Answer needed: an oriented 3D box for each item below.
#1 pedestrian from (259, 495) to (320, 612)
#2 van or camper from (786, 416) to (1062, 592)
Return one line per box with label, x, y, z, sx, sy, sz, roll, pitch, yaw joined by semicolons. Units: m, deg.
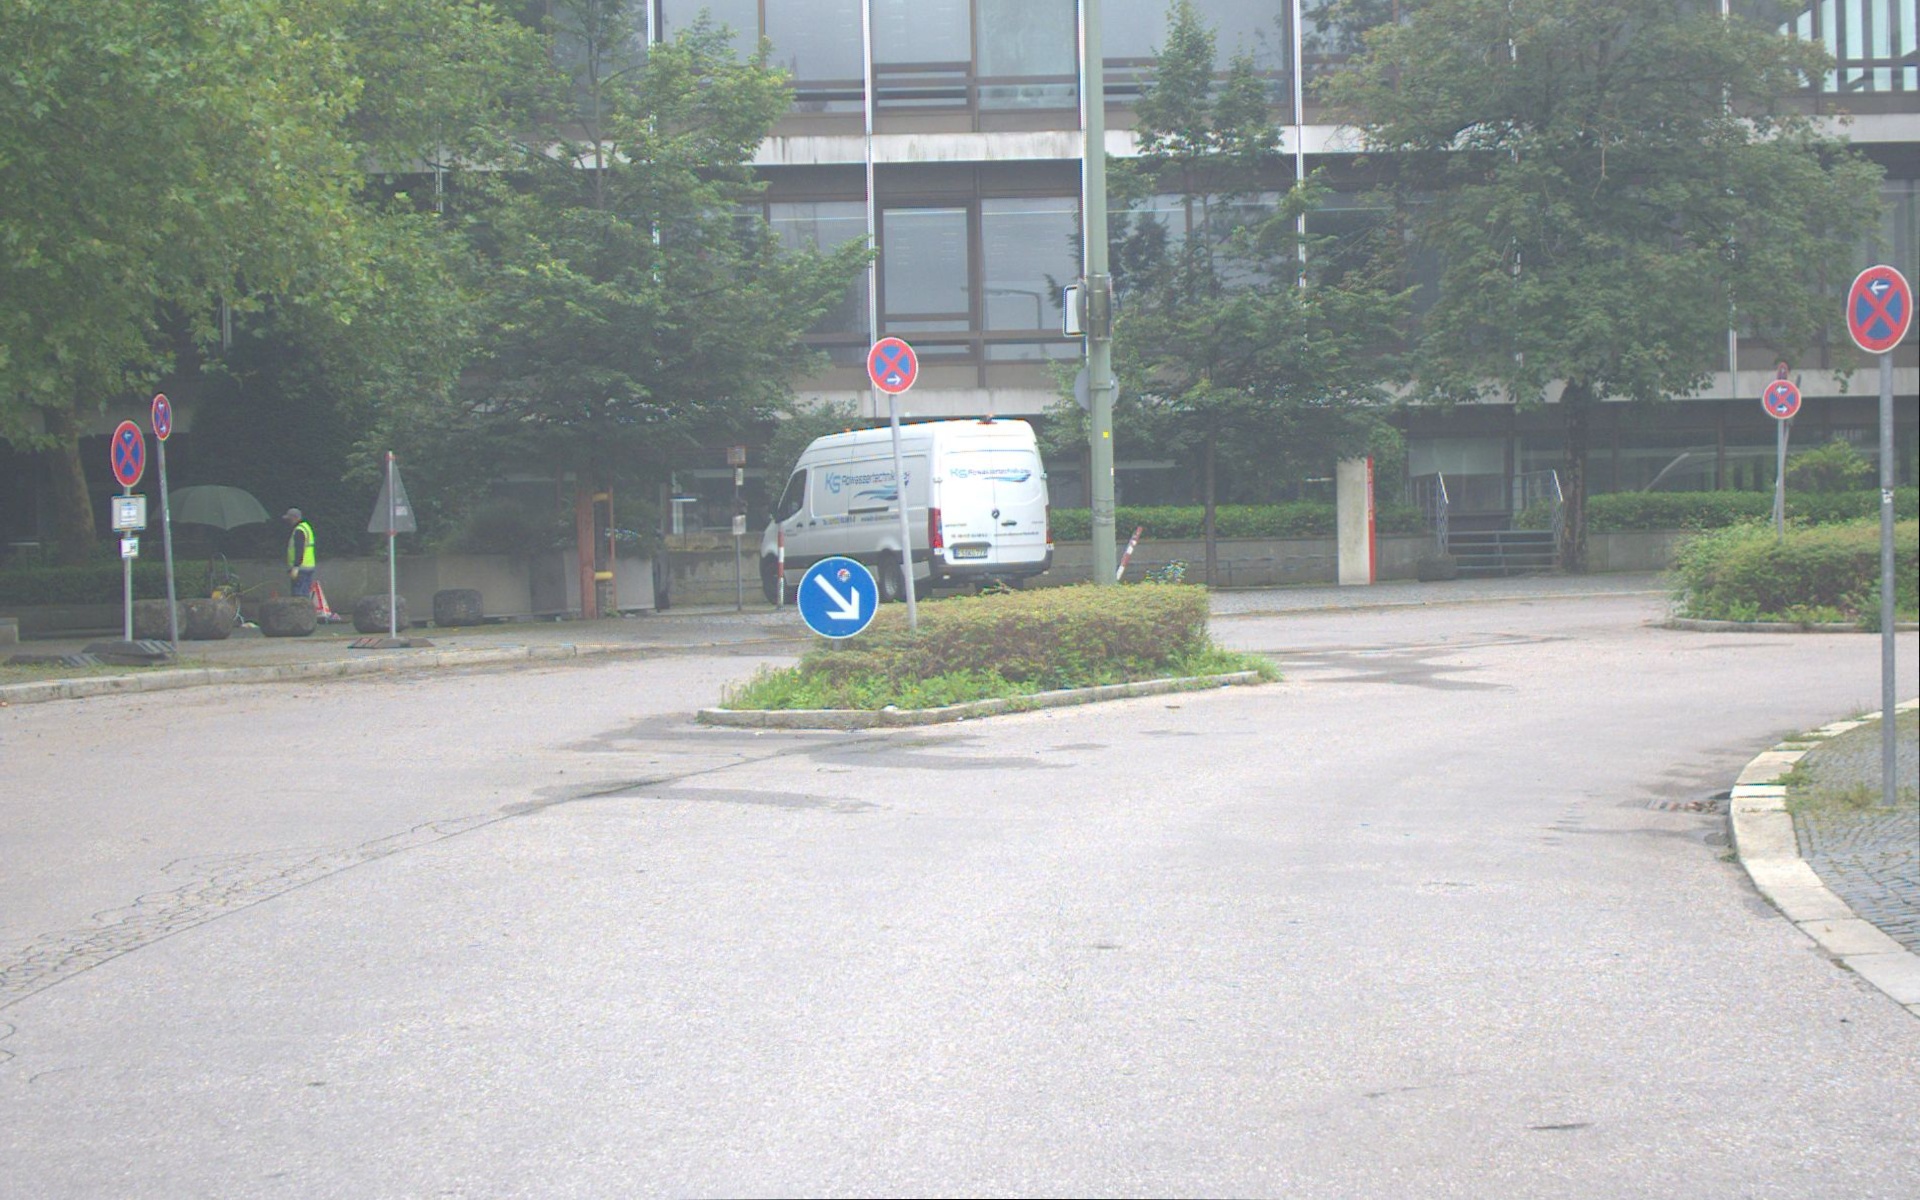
pedestrian;-9.750;-0.683;49.986;0.741;1.671;0.682;-1;1;-20
van or camper;-0.603;-1.419;51.355;2.085;2.483;5.068;-1;2;-26
